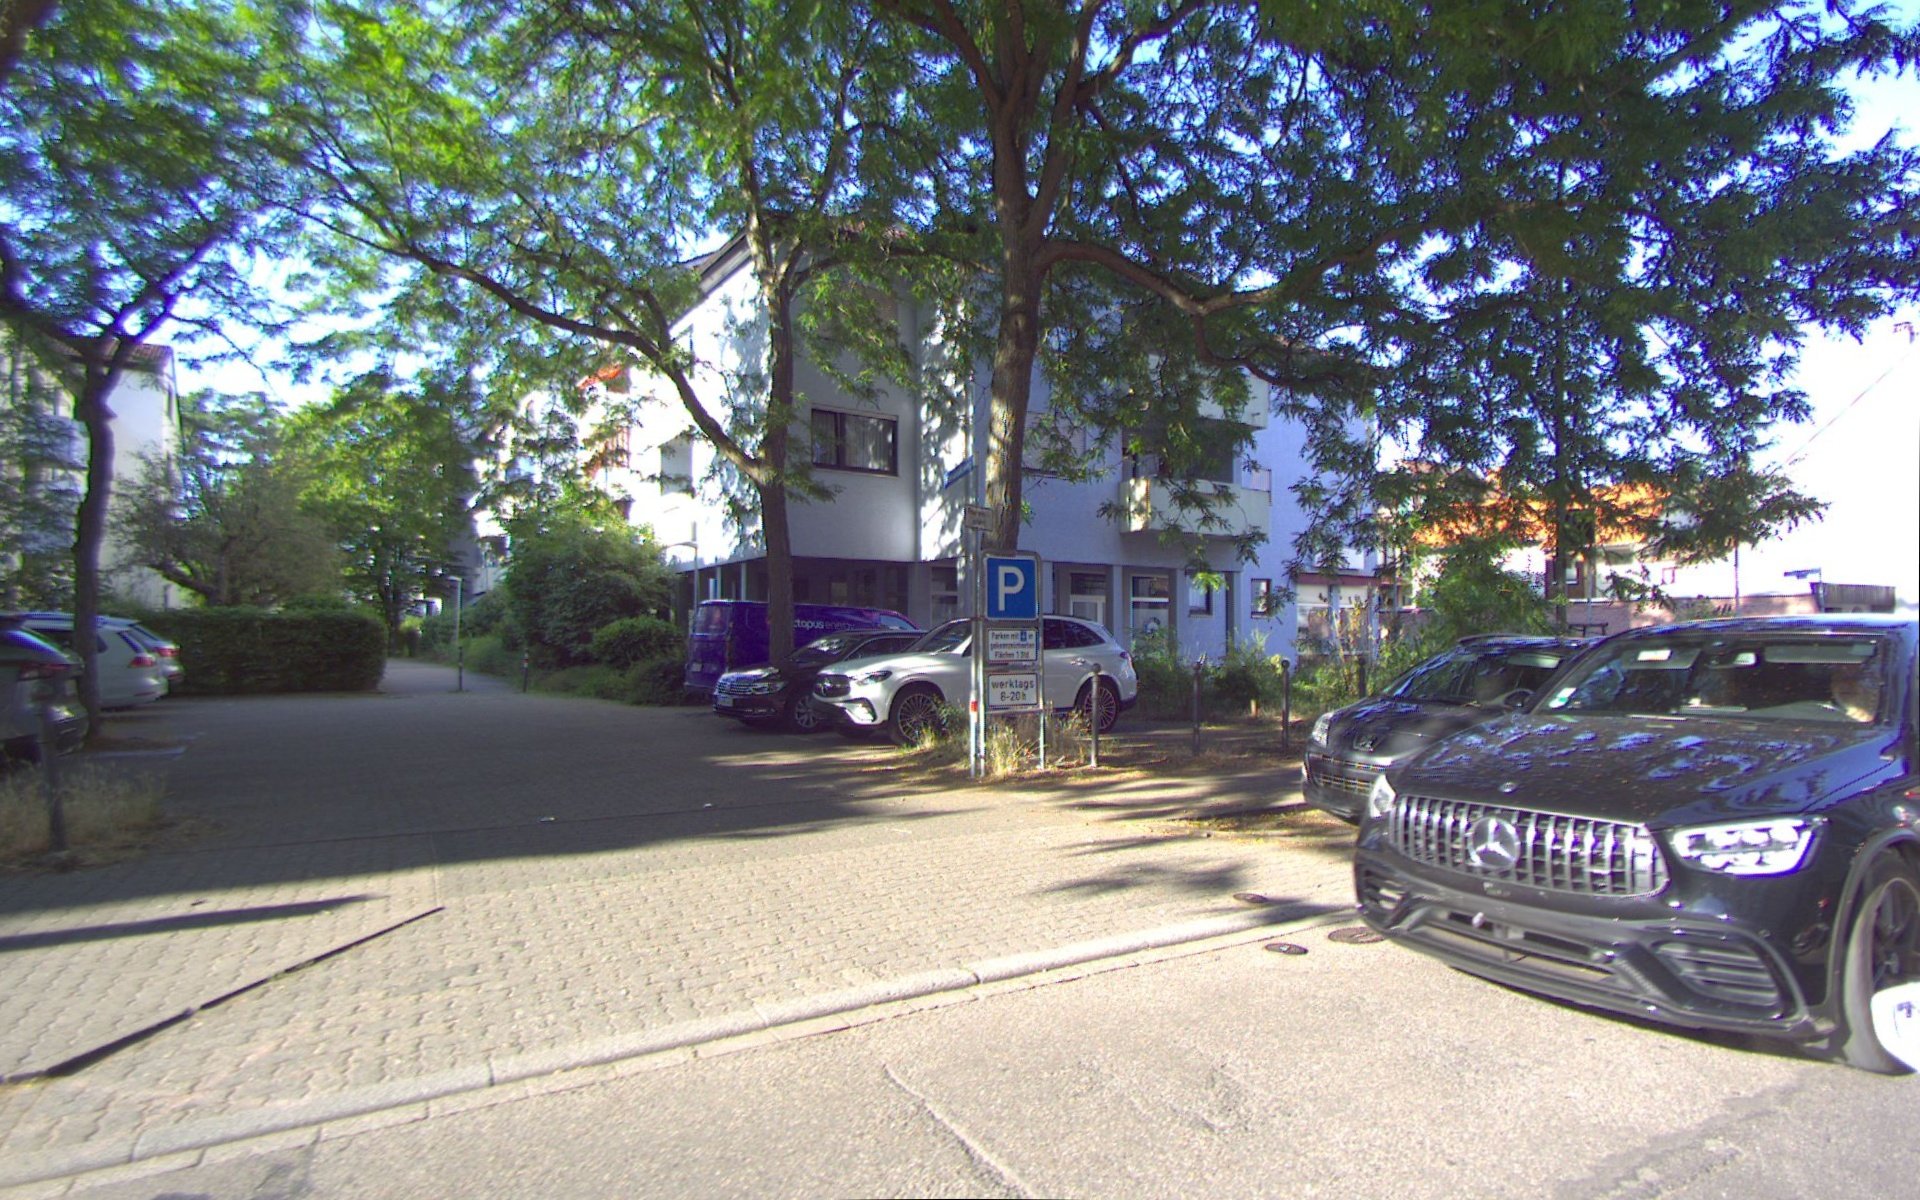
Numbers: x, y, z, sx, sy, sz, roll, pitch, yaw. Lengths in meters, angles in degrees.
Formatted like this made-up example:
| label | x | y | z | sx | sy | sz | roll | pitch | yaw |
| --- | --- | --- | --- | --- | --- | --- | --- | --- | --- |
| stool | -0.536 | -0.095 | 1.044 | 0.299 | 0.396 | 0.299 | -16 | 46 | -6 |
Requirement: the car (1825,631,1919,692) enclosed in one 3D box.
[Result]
| label | x | y | z | sx | sy | sz | roll | pitch | yaw |
| --- | --- | --- | --- | --- | --- | --- | --- | --- | --- |
| car | 25.581 | 1.595 | 26.471 | 1.974 | 1.550 | 3.755 | 0 | -2 | -27 |

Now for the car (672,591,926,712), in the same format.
| label | x | y | z | sx | sy | sz | roll | pitch | yaw |
| --- | --- | --- | --- | --- | --- | --- | --- | --- | --- |
| car | -2.909 | 0.911 | 18.656 | 4.290 | 1.974 | 2.000 | 1 | -2 | -41 |

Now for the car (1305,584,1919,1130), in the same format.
| label | x | y | z | sx | sy | sz | roll | pitch | yaw |
| --- | --- | --- | --- | --- | --- | --- | --- | --- | --- |
| car | 3.907 | 0.822 | 4.897 | 4.269 | 1.596 | 1.929 | 1 | -2 | -31 |

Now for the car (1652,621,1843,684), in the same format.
| label | x | y | z | sx | sy | sz | roll | pitch | yaw |
| --- | --- | --- | --- | --- | --- | --- | --- | --- | --- |
| car | 23.614 | 1.624 | 30.271 | 1.974 | 1.519 | 3.976 | -2 | -5 | -27 |

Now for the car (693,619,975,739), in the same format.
| label | x | y | z | sx | sy | sz | roll | pitch | yaw |
| --- | --- | --- | --- | --- | --- | --- | --- | --- | --- |
| car | -1.890 | 1.100 | 15.261 | 3.767 | 1.596 | 2.063 | 1 | -2 | -32 |

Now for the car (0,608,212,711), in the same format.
| label | x | y | z | sx | sy | sz | roll | pitch | yaw |
| --- | --- | --- | --- | --- | --- | --- | --- | --- | --- |
| car | -15.373 | 0.936 | 16.166 | 5.126 | 1.580 | 1.929 | 1 | -1 | -31 |

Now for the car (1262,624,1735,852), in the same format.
| label | x | y | z | sx | sy | sz | roll | pitch | yaw |
| --- | --- | --- | --- | --- | --- | --- | --- | --- | --- |
| car | 4.562 | 0.969 | 8.404 | 3.953 | 1.511 | 1.689 | 1 | -2 | -30 |

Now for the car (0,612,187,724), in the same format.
| label | x | y | z | sx | sy | sz | roll | pitch | yaw |
| --- | --- | --- | --- | --- | --- | --- | --- | --- | --- |
| car | -14.195 | 0.934 | 14.367 | 4.780 | 1.495 | 1.982 | 1 | 0 | -33 |

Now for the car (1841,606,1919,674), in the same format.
| label | x | y | z | sx | sy | sz | roll | pitch | yaw |
| --- | --- | --- | --- | --- | --- | --- | --- | --- | --- |
| car | 28.521 | 1.182 | 28.900 | 1.961 | 1.819 | 4.348 | -2 | 3 | -26 |

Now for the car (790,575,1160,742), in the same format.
| label | x | y | z | sx | sy | sz | roll | pitch | yaw |
| --- | --- | --- | --- | --- | --- | --- | --- | --- | --- |
| car | 0.295 | 0.713 | 13.651 | 4.853 | 1.920 | 1.833 | 1 | -1 | -33 |
